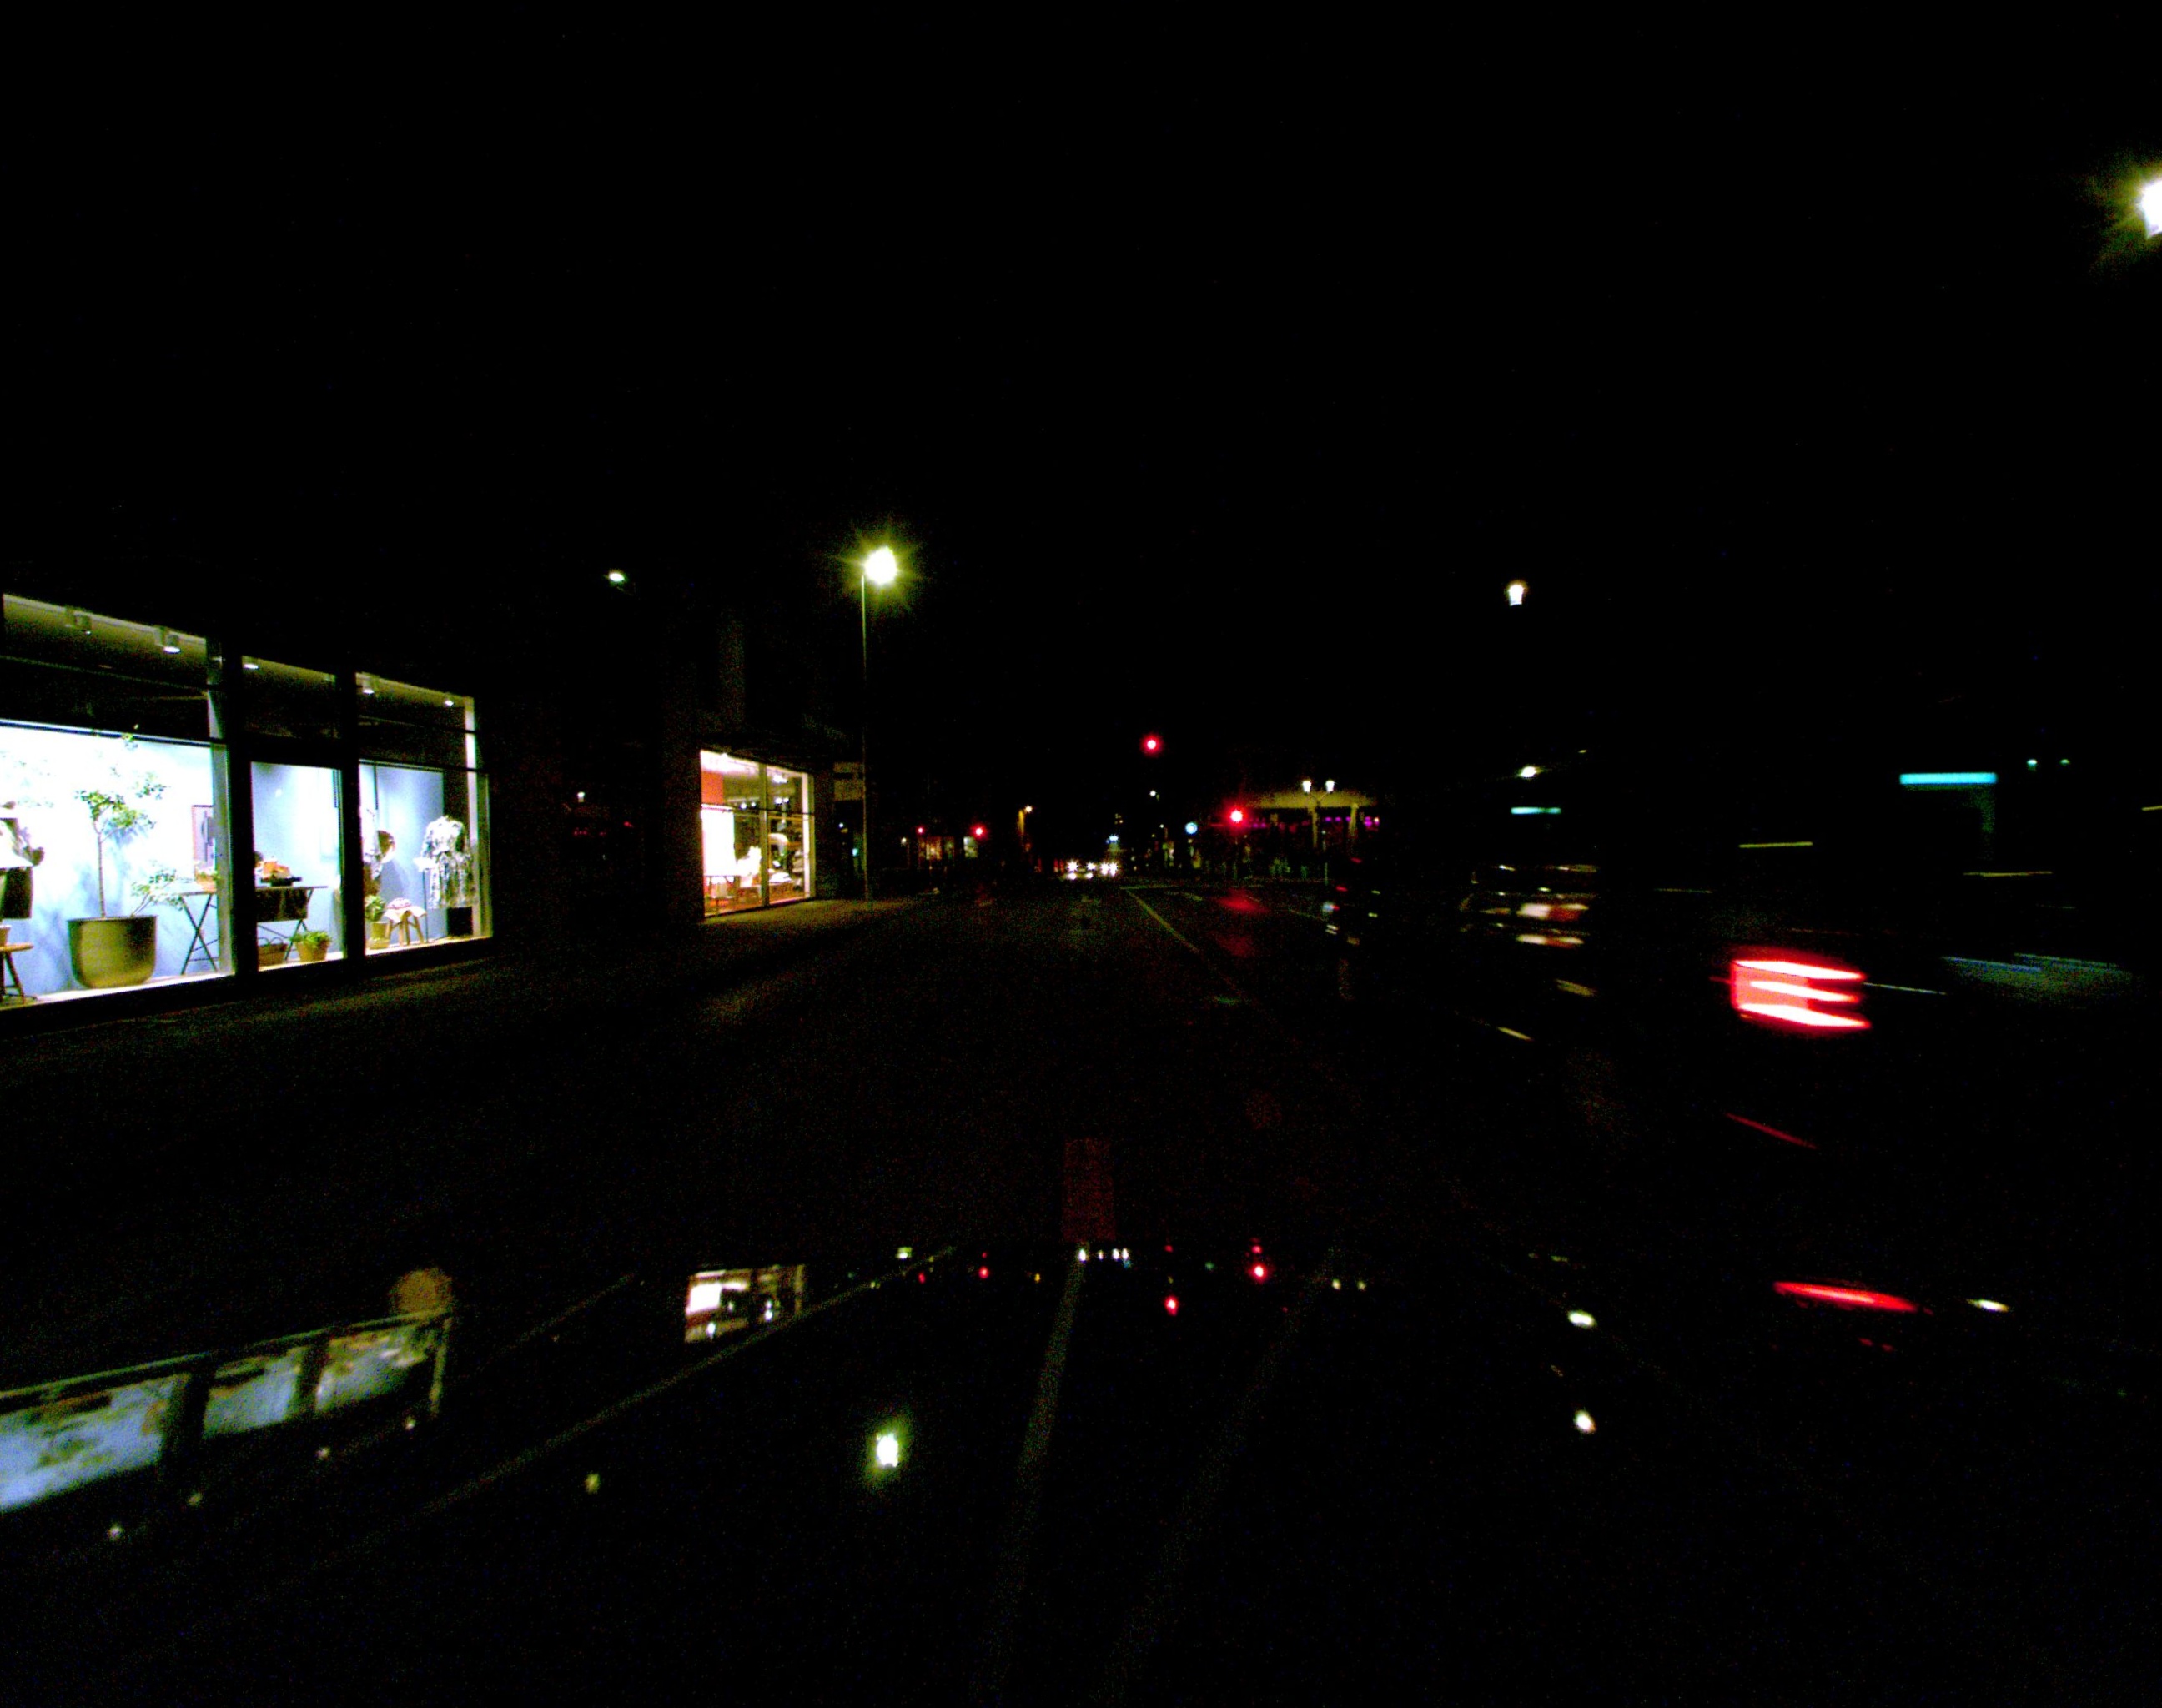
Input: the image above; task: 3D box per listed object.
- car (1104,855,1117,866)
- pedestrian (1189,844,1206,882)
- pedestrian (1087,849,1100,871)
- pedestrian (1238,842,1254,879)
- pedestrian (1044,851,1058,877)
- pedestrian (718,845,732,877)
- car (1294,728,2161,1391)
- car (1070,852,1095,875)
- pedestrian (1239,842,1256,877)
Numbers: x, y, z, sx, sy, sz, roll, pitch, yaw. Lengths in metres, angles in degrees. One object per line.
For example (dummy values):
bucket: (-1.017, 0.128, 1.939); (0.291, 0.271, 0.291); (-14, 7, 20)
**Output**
car: (4.603, 1.000, 120.496); (1.879, 1.718, 3.999); (-2, 1, 1)
pedestrian: (5.153, 0.392, 33.537); (0.539, 1.672, 0.648); (-2, 1, 23)
pedestrian: (0.888, 0.413, 53.679); (0.829, 1.487, 0.648); (0, 1, 4)
pedestrian: (7.565, 0.299, 34.862); (0.582, 1.672, 0.648); (-2, 1, 23)
pedestrian: (-2.008, 0.634, 50.636); (0.877, 1.723, 0.647); (0, 1, 4)
pedestrian: (-19.143, 0.384, 40.848); (0.525, 1.707, 0.565); (-3, 1, -30)
car: (3.059, 0.548, 4.624); (1.972, 1.861, 4.910); (-1, 1, -2)
car: (0.133, 0.707, 60.166); (1.713, 1.660, 3.738); (-2, 1, 3)
pedestrian: (7.774, 0.245, 35.447); (0.581, 1.619, 0.648); (-2, 1, 30)
